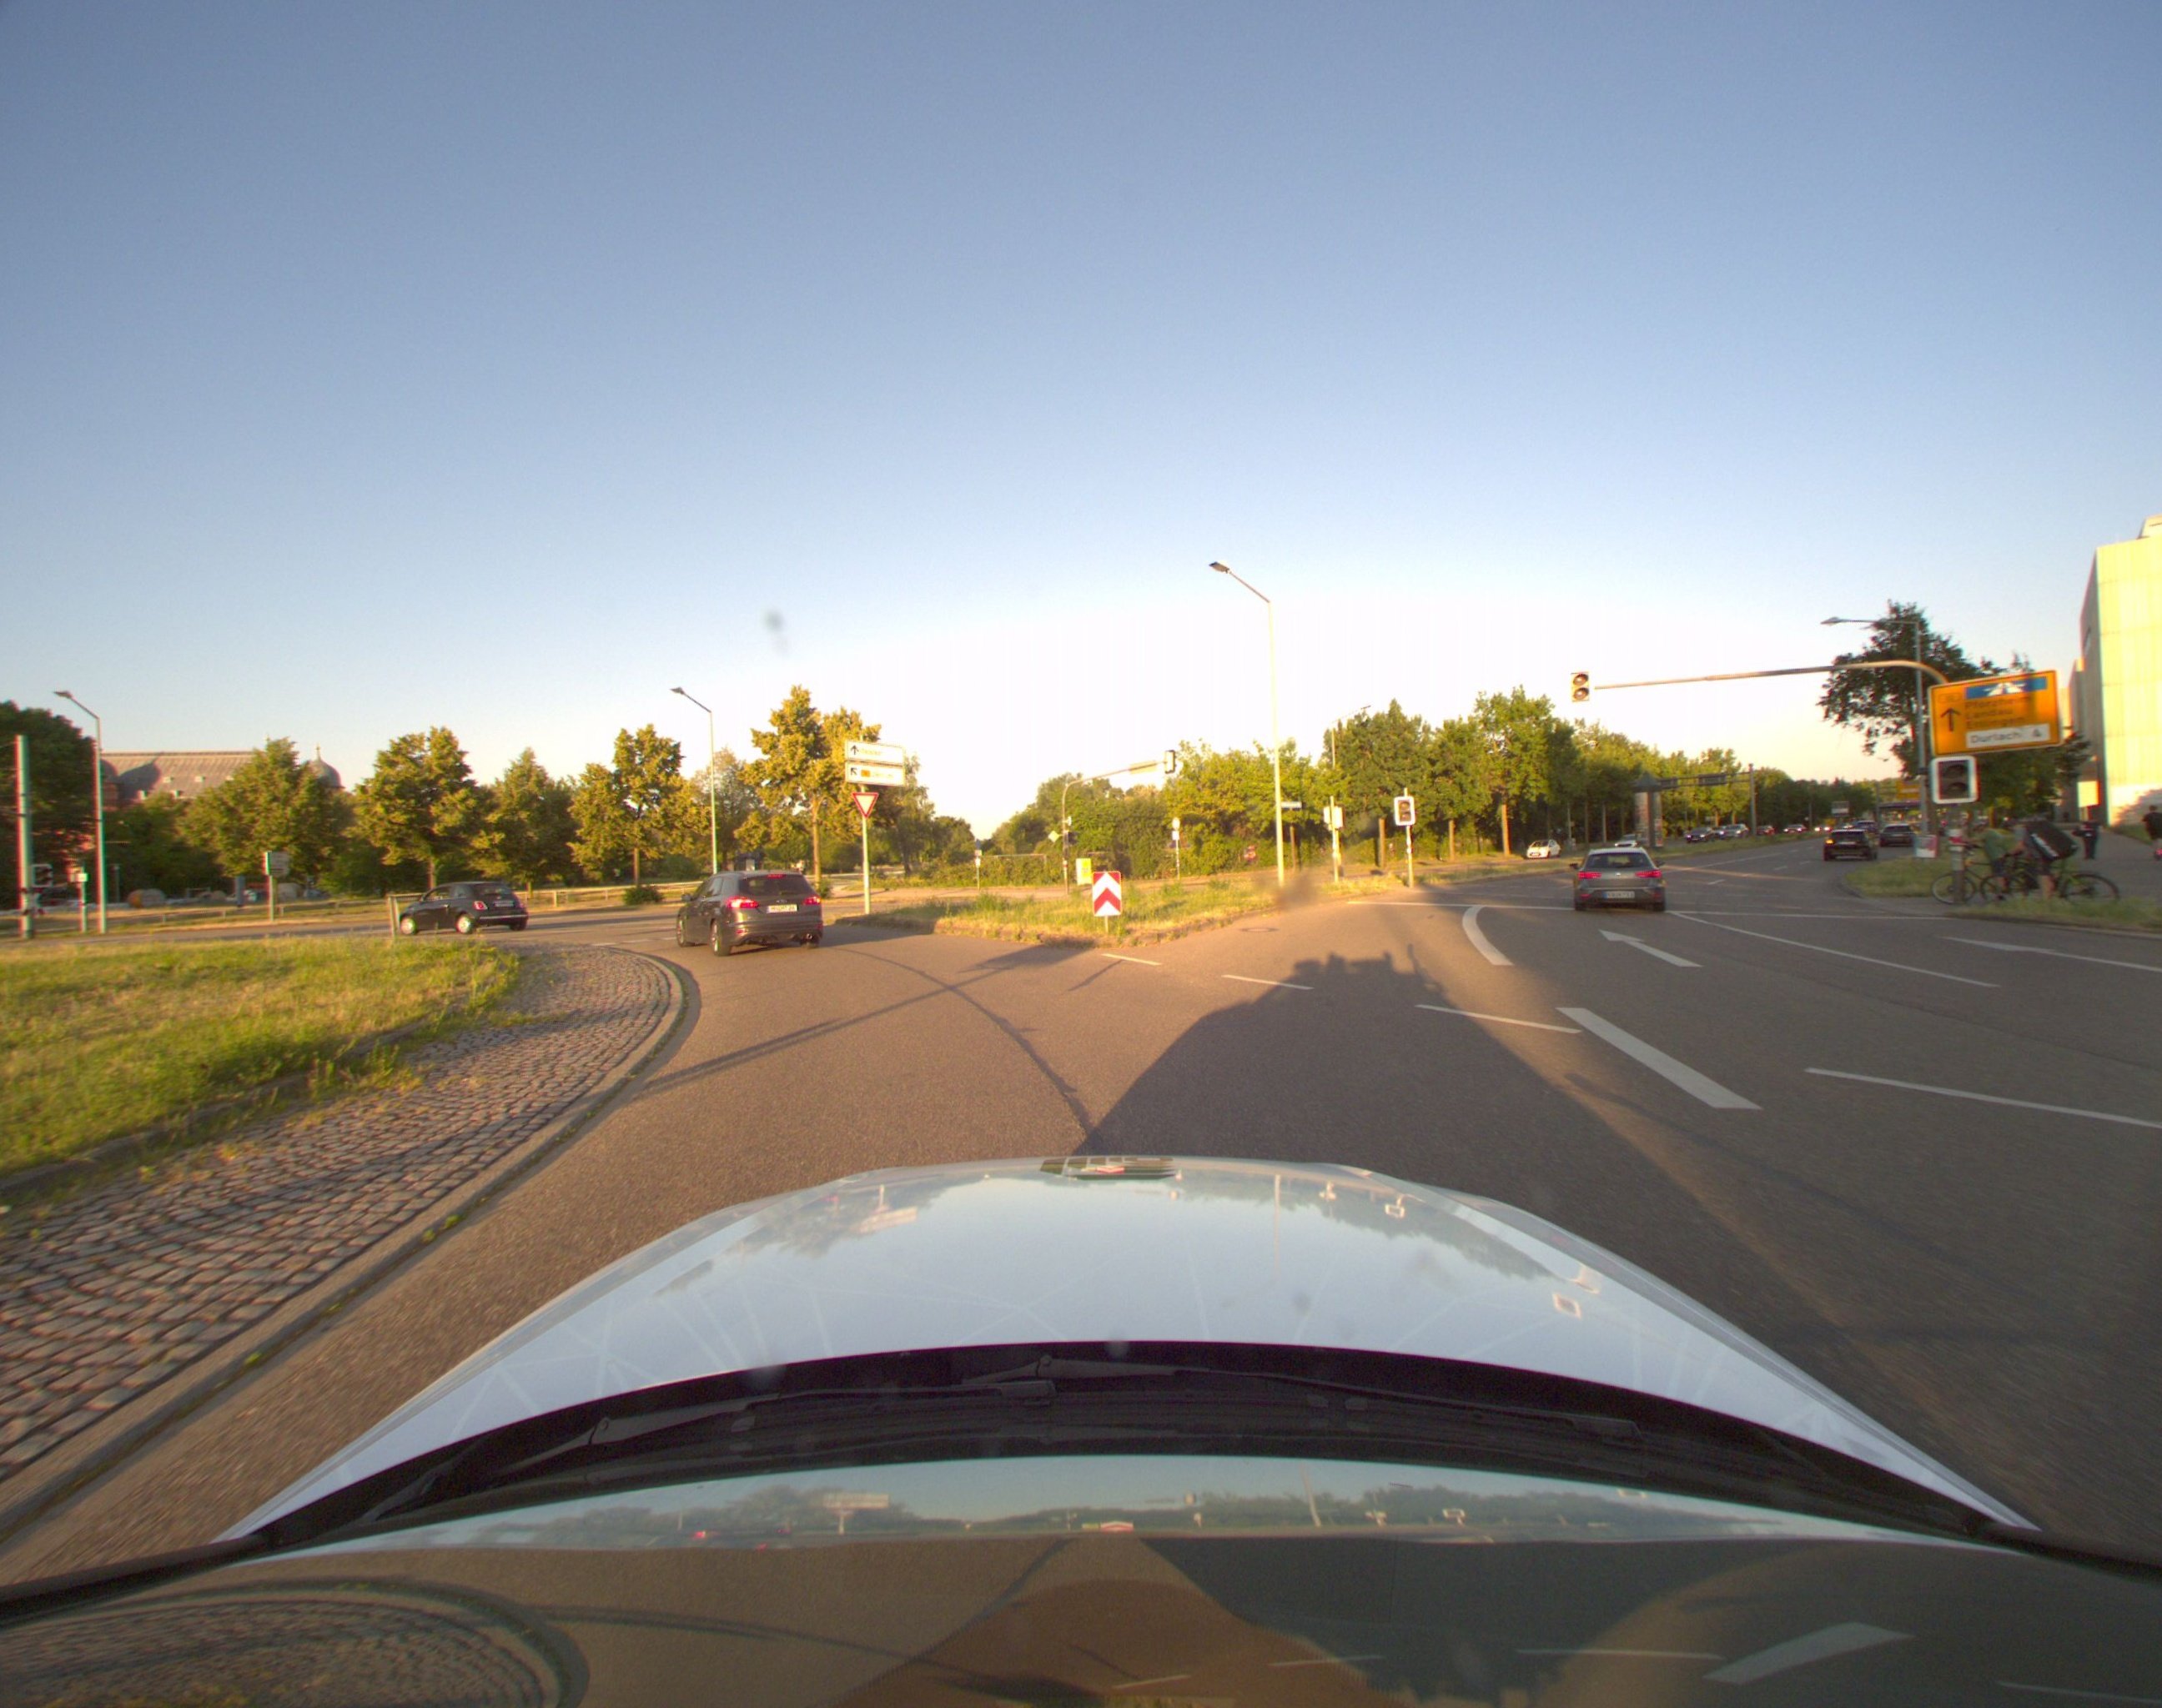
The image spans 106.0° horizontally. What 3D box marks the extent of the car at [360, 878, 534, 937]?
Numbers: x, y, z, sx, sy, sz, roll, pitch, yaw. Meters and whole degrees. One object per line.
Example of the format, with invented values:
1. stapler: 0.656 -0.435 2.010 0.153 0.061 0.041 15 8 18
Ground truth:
1. car: -18.122 1.519 23.330 4.091 1.446 1.759 -2 1 15

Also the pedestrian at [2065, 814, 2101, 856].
1. pedestrian: 37.523 -0.704 30.497 0.570 1.550 0.787 -2 0 -40

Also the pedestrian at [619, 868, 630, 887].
1. pedestrian: -39.850 2.029 71.134 0.523 1.626 0.624 -3 0 30

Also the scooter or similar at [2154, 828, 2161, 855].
1. scooter or similar: 37.011 -0.438 27.909 1.044 0.914 0.244 -3 0 -38

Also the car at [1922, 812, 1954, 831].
1. car: 77.261 -2.955 73.425 4.022 1.618 1.889 -3 1 -43

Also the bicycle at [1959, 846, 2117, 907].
1. bicycle: 18.392 0.459 15.721 0.459 1.085 1.905 -2 -1 -43

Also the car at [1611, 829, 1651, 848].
1. car: 46.842 -1.368 69.310 4.575 1.449 1.706 -2 0 -42

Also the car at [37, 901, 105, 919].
1. car: -104.886 5.769 84.596 3.991 1.551 1.991 -2 0 -13

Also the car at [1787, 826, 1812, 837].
1. car: 101.217 -3.223 114.693 4.604 1.460 1.824 -2 0 -39

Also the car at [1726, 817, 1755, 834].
1. car: 75.630 -3.254 93.365 4.949 1.754 1.899 -2 -2 -43

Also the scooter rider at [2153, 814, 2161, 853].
1. scooter rider: 36.966 -0.713 27.903 0.408 1.339 0.262 -3 0 -38

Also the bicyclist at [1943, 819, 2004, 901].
1. bicyclist: 19.265 0.138 17.605 0.645 1.702 0.760 -2 -2 -43

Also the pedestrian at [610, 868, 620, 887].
1. pedestrian: -41.013 2.065 71.715 0.526 1.626 0.584 -3 0 39

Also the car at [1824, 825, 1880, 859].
1. car: 38.580 -0.606 40.715 4.158 1.525 1.796 -3 1 -43

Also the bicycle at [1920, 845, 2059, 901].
1. bicycle: 19.402 0.434 17.458 0.459 1.085 1.904 -2 -2 -43

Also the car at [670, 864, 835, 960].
1. car: -6.305 0.987 15.358 1.760 1.466 4.087 -3 1 -38

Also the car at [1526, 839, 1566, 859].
1. car: 37.127 -0.410 64.954 3.504 1.443 1.536 -2 -1 -38

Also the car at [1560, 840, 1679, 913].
1. car: 12.353 0.457 18.937 1.729 1.424 4.159 -2 1 26

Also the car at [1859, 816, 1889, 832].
1. car: 82.986 -3.159 85.243 4.022 1.470 1.976 -3 1 -42

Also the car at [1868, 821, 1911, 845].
1. car: 54.996 -1.420 55.376 4.157 1.488 1.730 -2 0 -41

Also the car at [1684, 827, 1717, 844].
1. car: 63.832 -1.891 83.881 4.479 1.633 1.782 -2 -1 -41

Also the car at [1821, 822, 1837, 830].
1. car: 131.543 -4.998 143.244 3.736 1.309 1.600 -2 -2 -40

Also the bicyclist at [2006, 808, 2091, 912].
1. bicyclist: 18.432 0.122 15.533 0.645 1.897 0.899 -2 -2 -43
